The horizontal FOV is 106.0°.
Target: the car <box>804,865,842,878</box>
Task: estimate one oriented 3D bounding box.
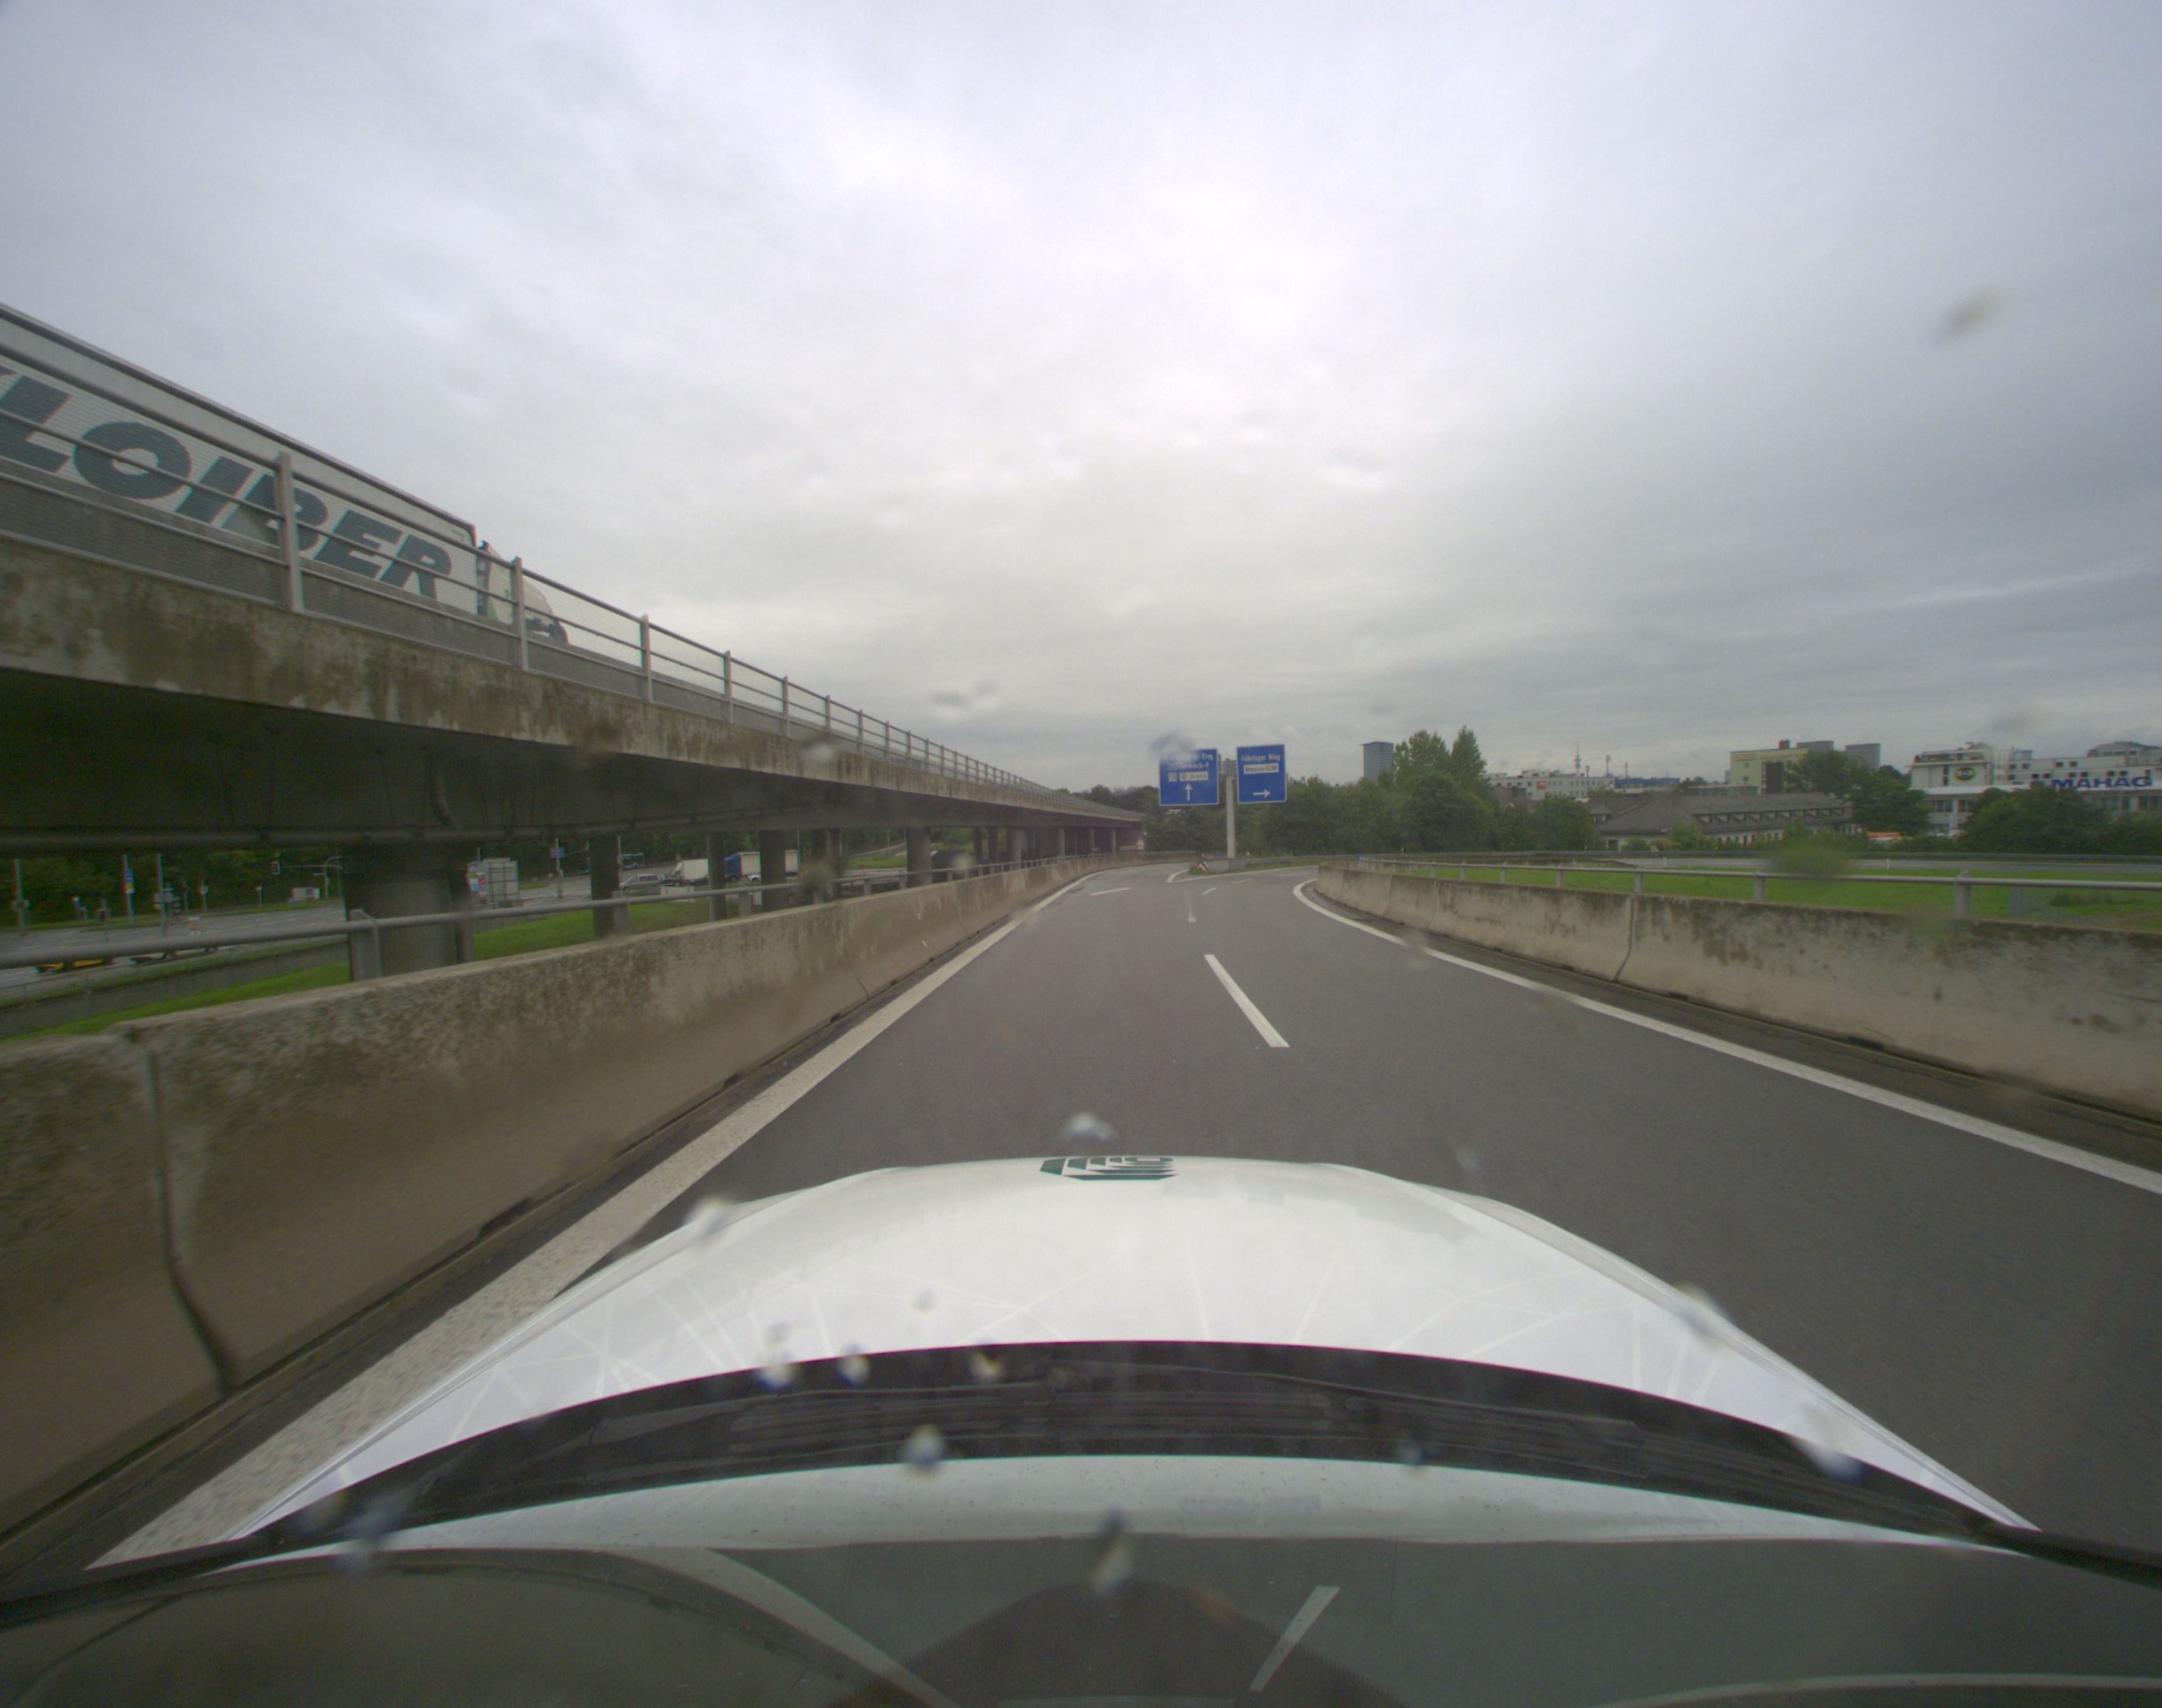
[{"bbox_3d":[-35.257,2.433,111.376,4.608,1.583,1.955,-2,0,-33],"label":"car"}]

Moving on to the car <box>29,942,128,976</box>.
[{"bbox_3d":[-66.946,6.999,54.485,1.839,1.617,3.994,1,2,-5],"label":"car"}]

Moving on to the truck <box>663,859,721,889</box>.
[{"bbox_3d":[-51.858,2.602,108.597,6.666,3.679,2.771,-2,0,-32],"label":"truck"}]

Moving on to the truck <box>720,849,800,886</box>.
[{"bbox_3d":[-43.261,1.794,109.811,9.635,4.591,2.771,-2,0,-32],"label":"truck"}]

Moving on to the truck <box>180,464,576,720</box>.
[{"bbox_3d":[-12.360,-4.431,15.056,2.579,3.245,5.198,0,3,2],"label":"truck"}]

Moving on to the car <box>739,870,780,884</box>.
[{"bbox_3d":[-42.248,3.035,107.008,4.609,1.583,1.954,-2,0,-34],"label":"car"}]

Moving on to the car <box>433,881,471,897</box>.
[{"bbox_3d":[-83.377,4.625,108.006,1.788,1.705,3.997,-3,1,-2],"label":"car"}]

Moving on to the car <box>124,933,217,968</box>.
[{"bbox_3d":[-63.600,6.728,57.015,1.801,1.749,4.360,1,2,-5],"label":"car"}]

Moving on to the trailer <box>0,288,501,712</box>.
[{"bbox_3d":[-12.558,-4.230,8.454,2.647,3.297,14.067,0,1,2],"label":"trailer"}]

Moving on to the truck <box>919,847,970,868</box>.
[{"bbox_3d":[-20.694,0.480,123.604,7.257,2.977,2.238,-1,-1,-32],"label":"truck"}]

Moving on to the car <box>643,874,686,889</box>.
[{"bbox_3d":[-53.043,3.509,103.722,4.609,1.606,1.954,-2,0,-34],"label":"car"}]

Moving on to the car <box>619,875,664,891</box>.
[{"bbox_3d":[-53.778,3.530,99.681,4.609,1.606,1.954,-2,0,-34],"label":"car"}]
